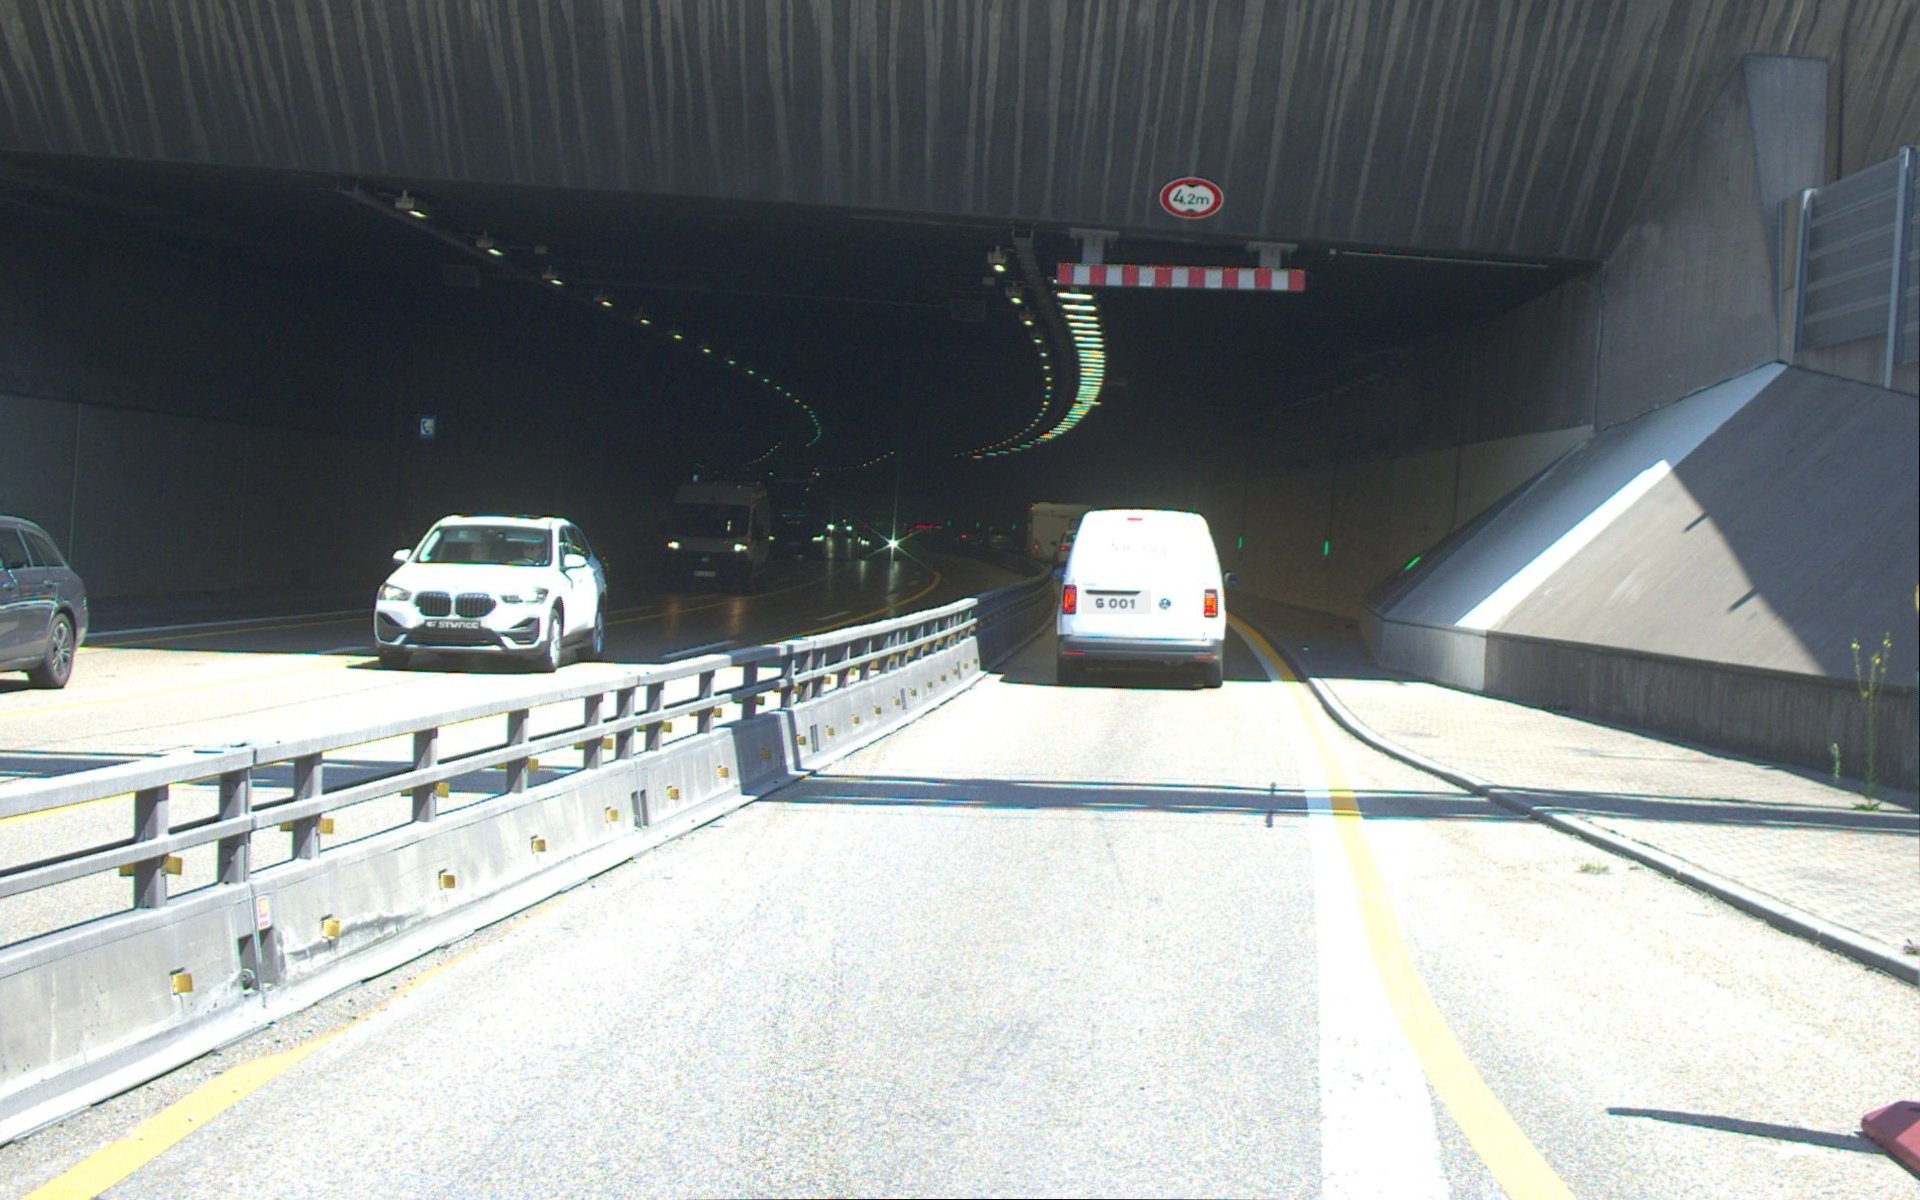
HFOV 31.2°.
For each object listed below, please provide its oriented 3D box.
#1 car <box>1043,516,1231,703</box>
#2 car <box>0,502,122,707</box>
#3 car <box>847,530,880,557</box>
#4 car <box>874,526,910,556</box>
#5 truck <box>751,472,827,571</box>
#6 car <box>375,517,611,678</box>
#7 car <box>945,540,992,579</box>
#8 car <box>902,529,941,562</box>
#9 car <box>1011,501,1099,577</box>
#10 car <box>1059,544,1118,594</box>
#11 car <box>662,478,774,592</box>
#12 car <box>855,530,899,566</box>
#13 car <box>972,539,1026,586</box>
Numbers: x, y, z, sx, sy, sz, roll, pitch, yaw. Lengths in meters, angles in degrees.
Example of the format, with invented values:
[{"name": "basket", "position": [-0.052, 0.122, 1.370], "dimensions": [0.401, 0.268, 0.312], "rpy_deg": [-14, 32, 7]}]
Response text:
[{"name": "car", "position": [1.915, 0.087, 36.840], "dimensions": [1.809, 1.788, 3.730], "rpy_deg": [4, 0, 4]}, {"name": "car", "position": [-8.614, 0.007, 28.353], "dimensions": [1.774, 1.661, 4.806], "rpy_deg": [1, 1, 6]}, {"name": "car", "position": [-7.392, -4.327, 262.283], "dimensions": [2.072, 2.014, 4.663], "rpy_deg": [2, 1, -6]}, {"name": "car", "position": [-4.781, -4.148, 239.684], "dimensions": [2.072, 2.014, 4.663], "rpy_deg": [2, 1, -6]}, {"name": "truck", "position": [-6.974, -3.210, 141.060], "dimensions": [2.810, 3.902, 6.456], "rpy_deg": [2, 1, -1]}, {"name": "car", "position": [-4.894, -0.069, 36.578], "dimensions": [1.773, 1.572, 4.446], "rpy_deg": [1, 1, 1]}, {"name": "car", "position": [0.430, -2.161, 182.637], "dimensions": [1.939, 2.014, 4.663], "rpy_deg": [2, 1, -6]}, {"name": "car", "position": [-2.444, -3.447, 215.903], "dimensions": [1.939, 2.014, 4.663], "rpy_deg": [2, 1, -6]}, {"name": "car", "position": [3.573, -2.337, 130.960], "dimensions": [2.813, 2.764, 7.102], "rpy_deg": [2, 1, -2]}, {"name": "car", "position": [4.151, -1.003, 111.098], "dimensions": [1.598, 1.541, 3.678], "rpy_deg": [2, 1, -2]}, {"name": "car", "position": [-5.596, -1.513, 80.139], "dimensions": [1.993, 2.506, 6.042], "rpy_deg": [1, 1, 1]}, {"name": "car", "position": [-3.588, -2.248, 147.654], "dimensions": [1.821, 1.451, 4.093], "rpy_deg": [2, 1, -2]}, {"name": "car", "position": [1.878, -1.843, 167.170], "dimensions": [2.035, 2.014, 4.632], "rpy_deg": [6, 1, -4]}]
